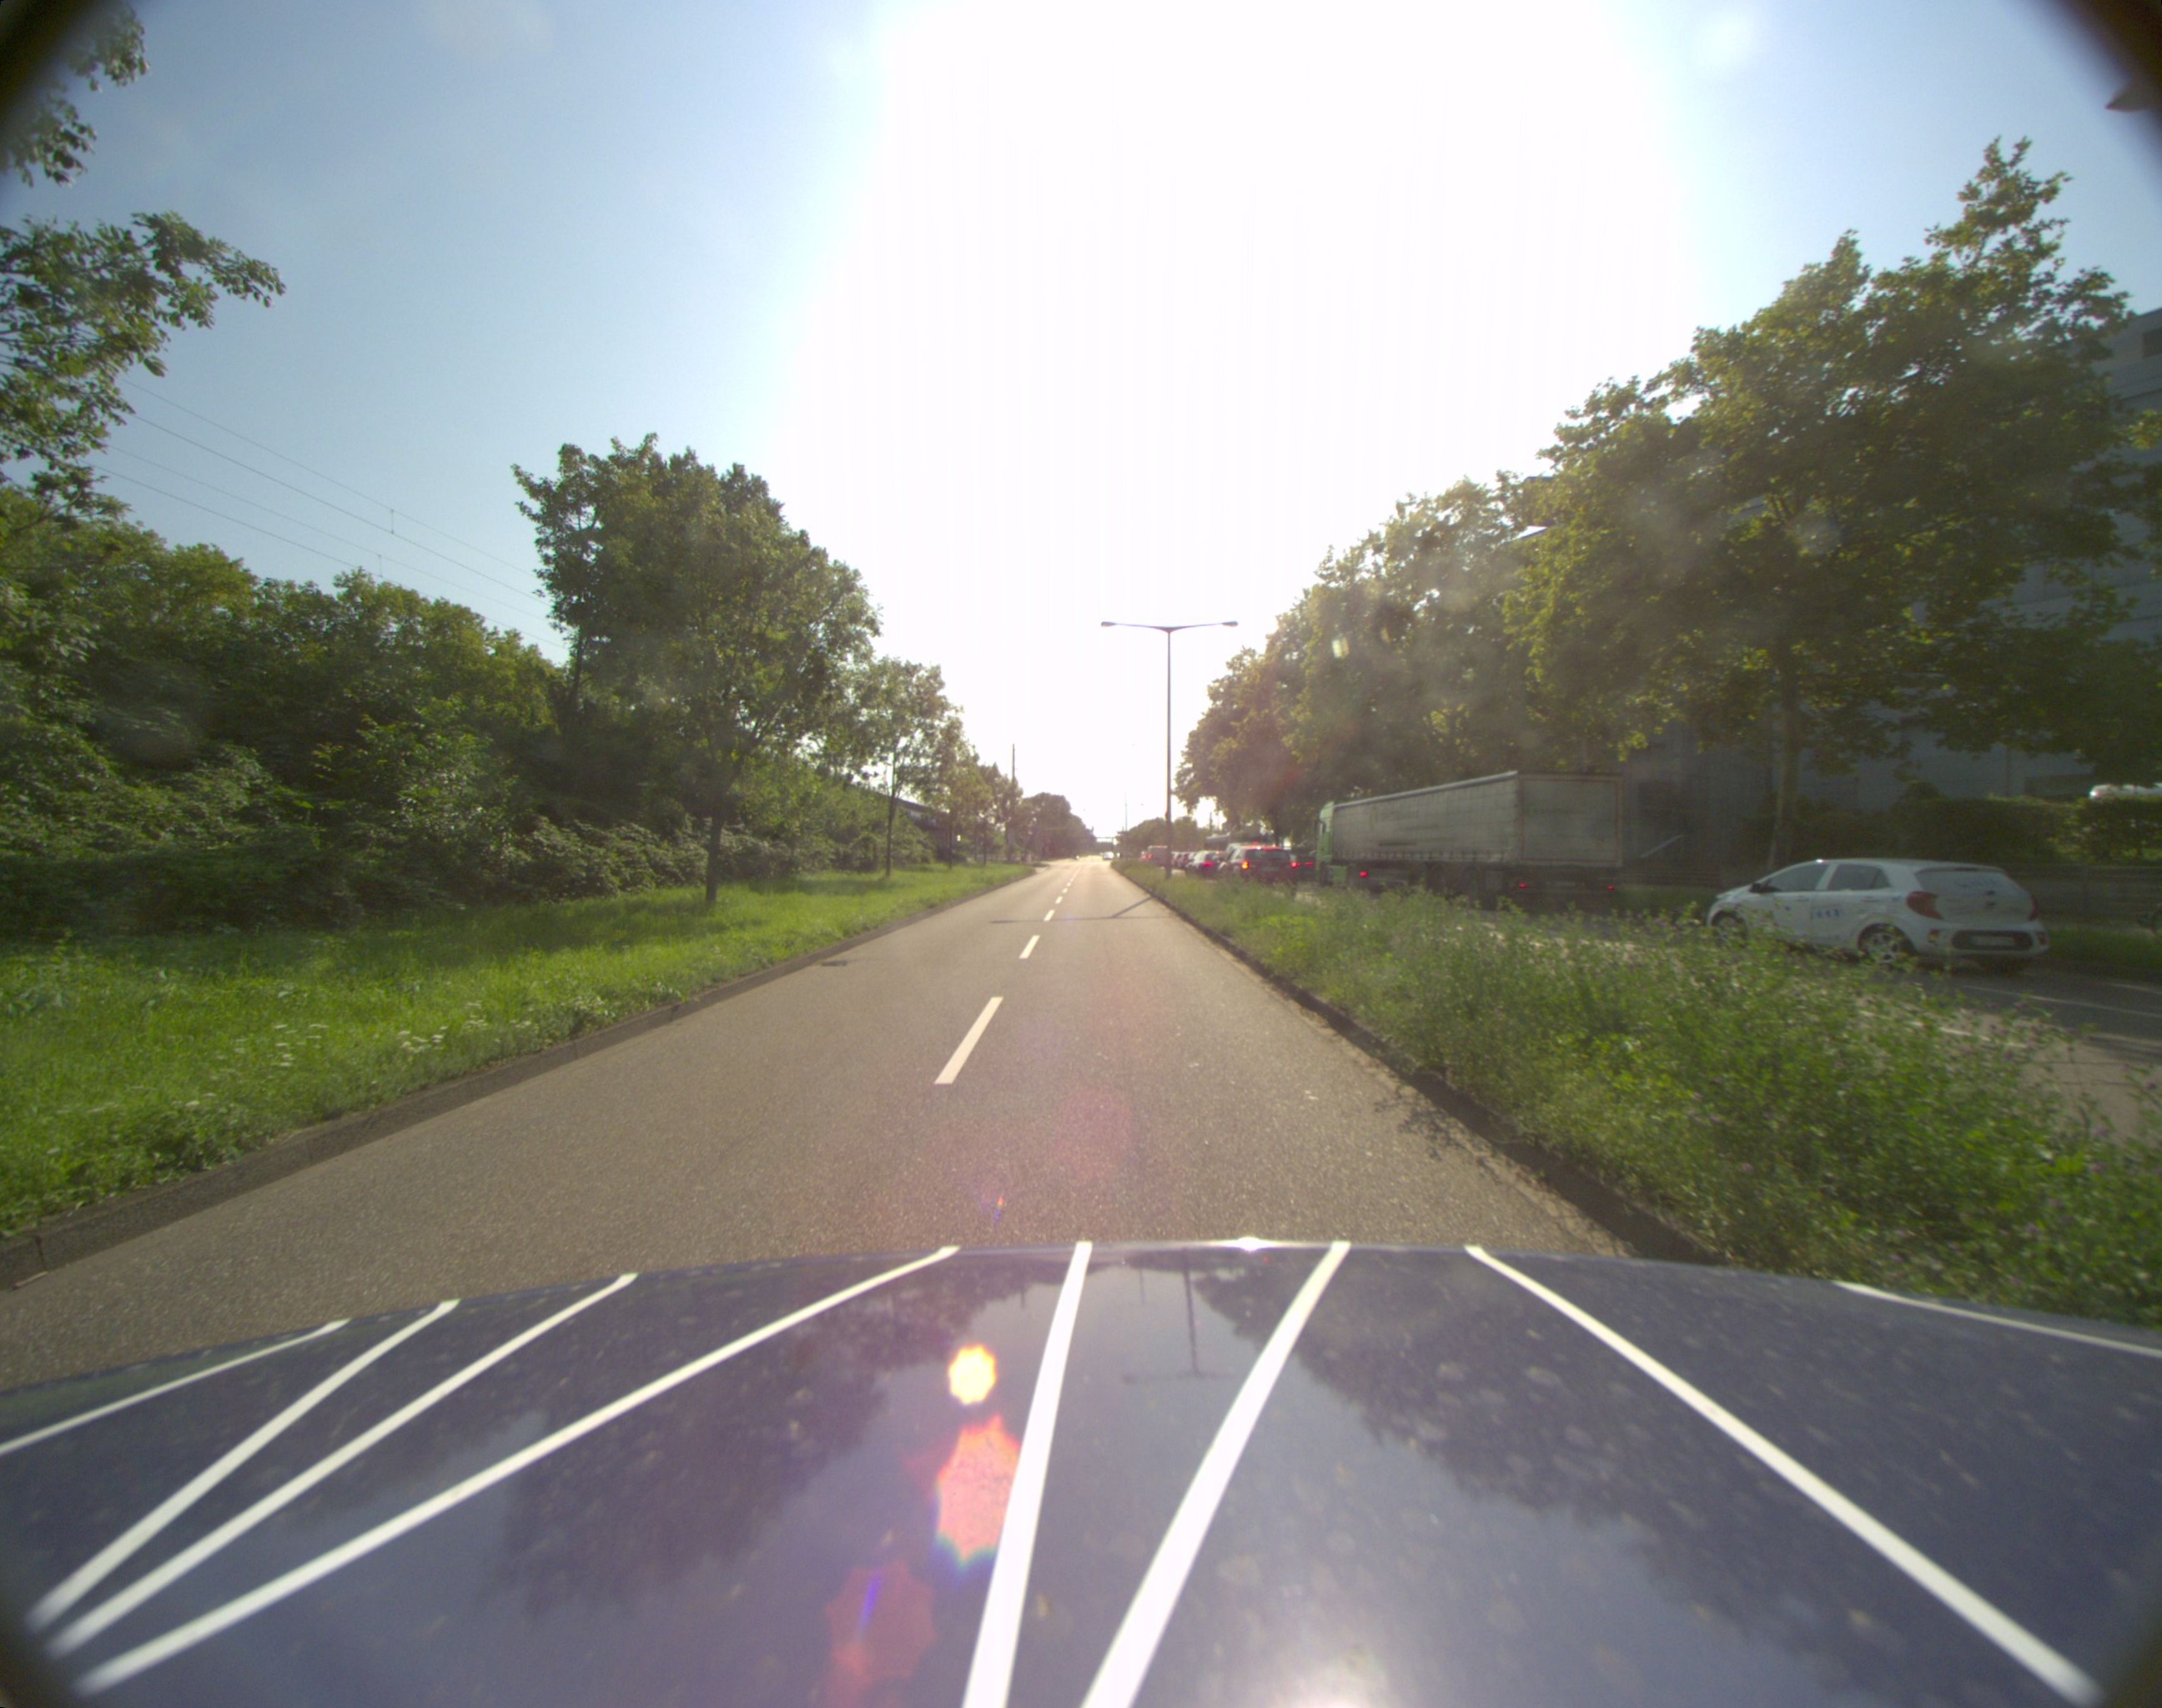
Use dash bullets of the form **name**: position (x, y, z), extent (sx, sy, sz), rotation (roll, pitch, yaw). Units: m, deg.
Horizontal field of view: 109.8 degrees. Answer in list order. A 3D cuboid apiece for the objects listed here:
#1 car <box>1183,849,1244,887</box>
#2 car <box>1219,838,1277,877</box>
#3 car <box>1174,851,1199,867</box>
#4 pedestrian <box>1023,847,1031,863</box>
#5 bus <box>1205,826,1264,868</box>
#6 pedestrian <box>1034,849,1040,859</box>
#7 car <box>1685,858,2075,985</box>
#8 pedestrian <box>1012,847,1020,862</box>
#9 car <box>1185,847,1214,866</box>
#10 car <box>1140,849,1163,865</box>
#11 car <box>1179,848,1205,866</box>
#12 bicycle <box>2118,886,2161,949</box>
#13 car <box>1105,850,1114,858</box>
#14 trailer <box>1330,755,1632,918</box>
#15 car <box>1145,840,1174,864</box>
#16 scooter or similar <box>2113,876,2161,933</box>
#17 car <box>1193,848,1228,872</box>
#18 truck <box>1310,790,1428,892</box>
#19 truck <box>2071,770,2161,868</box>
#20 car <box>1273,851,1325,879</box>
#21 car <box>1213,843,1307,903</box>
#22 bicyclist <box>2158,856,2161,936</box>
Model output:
- **car**: position (5.715, 0.554, 33.390), extent (1.751, 1.471, 4.585), rotation (2, 1, -1)
- **car**: position (8.736, 0.151, 40.187), extent (1.998, 1.942, 5.035), rotation (0, 1, 0)
- **car**: position (9.757, 0.428, 70.535), extent (1.710, 1.434, 4.000), rotation (1, 1, 1)
- **pedestrian**: position (-5.598, 0.083, 78.528), extent (0.570, 1.672, 0.493), rotation (0, 1, 33)
- **bus**: position (12.506, -0.579, 63.090), extent (2.596, 3.062, 12.311), rotation (-1, 1, 1)
- **pedestrian**: position (-7.027, 0.022, 121.543), extent (0.636, 1.565, 0.489), rotation (-2, 1, -41)
- **car**: position (11.313, 0.841, 11.227), extent (1.750, 1.471, 3.831), rotation (1, 1, 2)
- **pedestrian**: position (-6.742, 0.048, 78.663), extent (0.573, 1.558, 0.535), rotation (-2, 2, -40)
- **car**: position (9.193, 0.152, 59.060), extent (1.651, 1.425, 4.189), rotation (1, 1, 1)
- **car**: position (6.485, 0.279, 70.326), extent (1.713, 1.394, 4.084), rotation (1, 0, 1)
- **car**: position (9.596, 0.280, 65.881), extent (1.710, 1.458, 3.821), rotation (1, 0, 1)
- **bicycle**: position (19.729, 1.159, 13.302), extent (0.650, 1.101, 1.800), rotation (0, 1, 0)
- **car**: position (5.369, 0.070, 141.223), extent (1.544, 1.433, 3.396), rotation (0, -1, 4)
- **trailer**: position (11.769, -0.475, 24.975), extent (2.640, 3.799, 13.810), rotation (1, 1, 1)
- **car**: position (6.440, -0.143, 62.841), extent (1.916, 1.853, 4.890), rotation (1, 0, 0)
- **scooter or similar**: position (22.360, 1.051, 15.598), extent (0.510, 1.121, 1.381), rotation (-1, 1, 2)
- **car**: position (8.896, 0.389, 52.291), extent (1.699, 1.520, 4.139), rotation (1, 1, 1)
- **truck**: position (11.797, -0.530, 31.700), extent (2.614, 3.797, 5.890), rotation (1, 1, 0)
- **truck**: position (33.581, -1.065, 24.328), extent (5.916, 2.844, 2.233), rotation (-1, 1, -37)
- **car**: position (12.184, 0.578, 42.761), extent (1.651, 1.403, 4.479), rotation (1, 1, 0)
- **car**: position (5.535, 0.534, 24.133), extent (1.959, 1.714, 4.586), rotation (0, 1, 1)
- **bicyclist**: position (19.743, 0.761, 13.270), extent (0.650, 1.431, 0.840), rotation (0, 1, 0)
